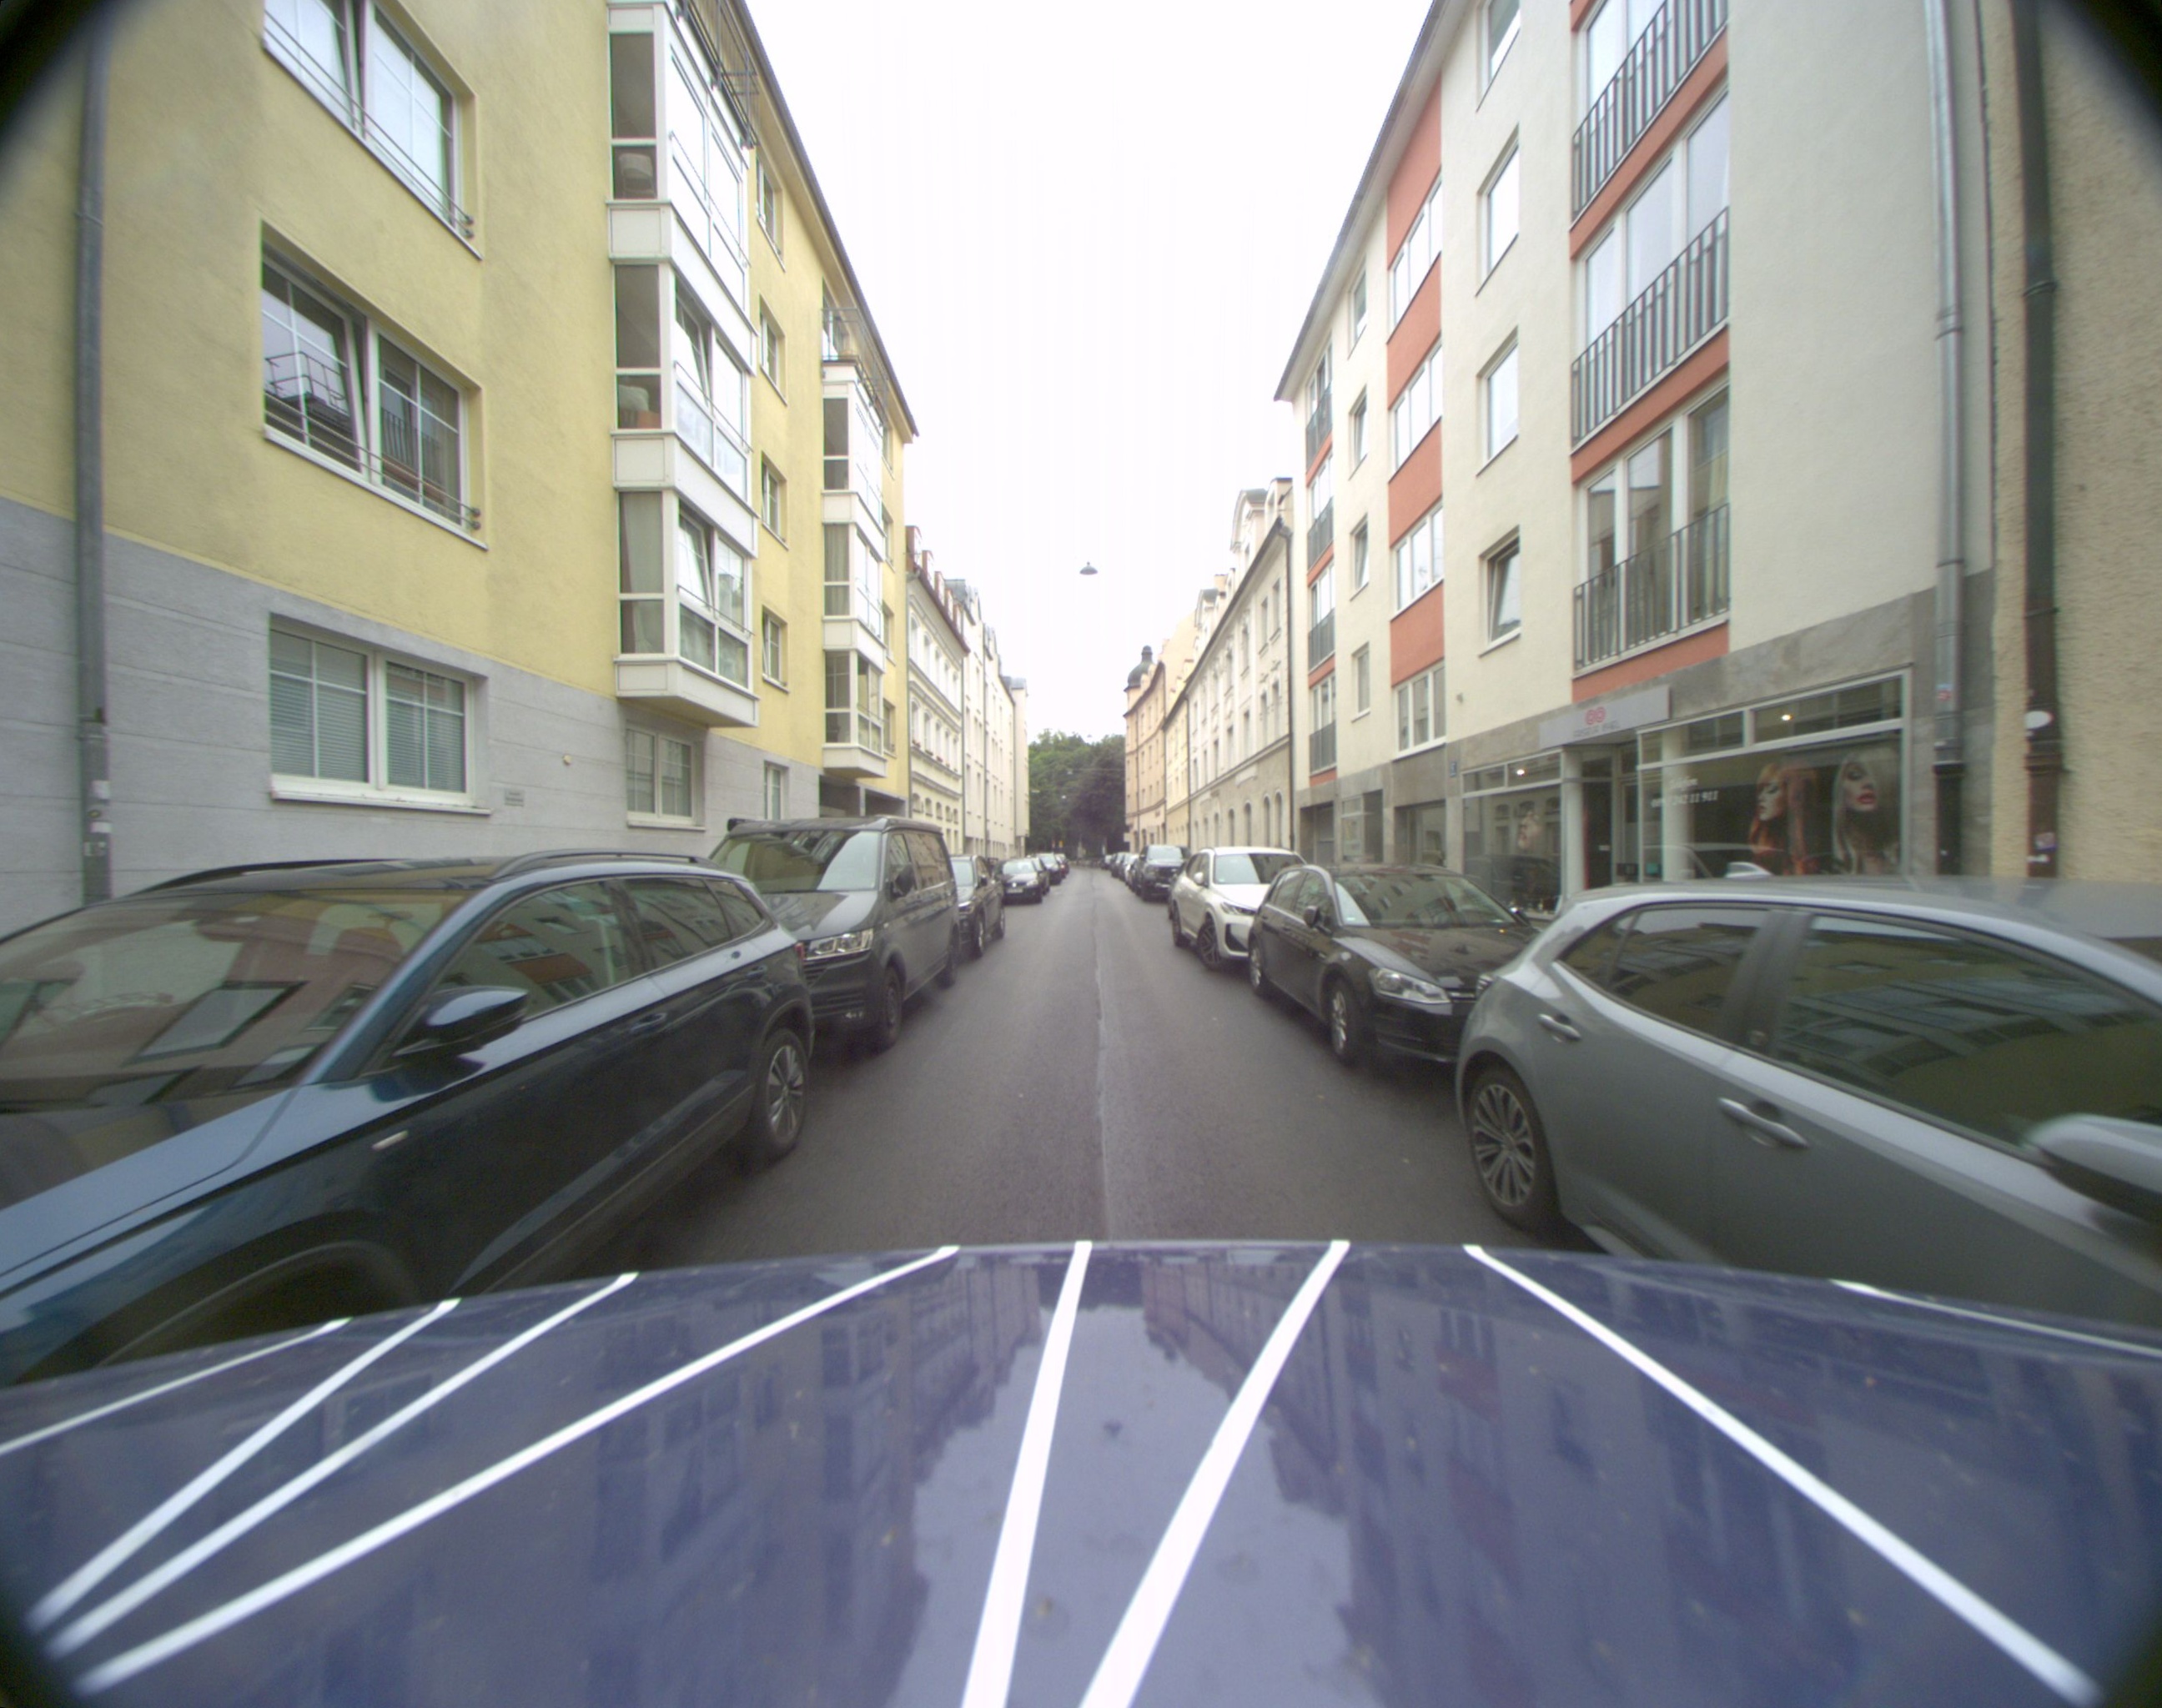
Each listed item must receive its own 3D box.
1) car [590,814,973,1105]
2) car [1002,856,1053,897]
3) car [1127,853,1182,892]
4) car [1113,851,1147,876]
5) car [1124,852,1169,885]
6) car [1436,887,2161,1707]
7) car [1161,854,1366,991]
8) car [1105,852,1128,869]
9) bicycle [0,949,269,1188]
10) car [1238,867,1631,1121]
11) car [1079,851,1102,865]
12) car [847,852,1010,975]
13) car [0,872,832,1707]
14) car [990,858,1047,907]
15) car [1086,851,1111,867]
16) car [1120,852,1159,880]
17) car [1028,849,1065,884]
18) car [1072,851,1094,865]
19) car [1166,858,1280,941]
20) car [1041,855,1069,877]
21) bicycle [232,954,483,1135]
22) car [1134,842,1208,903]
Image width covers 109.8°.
[{"bbox_3d":[-2.464,0.700,7.904,1.878,2.002,5.105,-2,1,0],"label":"car"},{"bbox_3d":[-2.093,0.850,30.506,1.739,1.433,3.685,-2,0,0],"label":"car"},{"bbox_3d":[2.988,0.721,31.500,1.951,1.470,3.715,1,0,1],"label":"car"},{"bbox_3d":[3.092,0.599,48.705,1.951,1.470,3.979,1,0,1],"label":"car"},{"bbox_3d":[3.210,0.681,37.855,1.951,1.470,3.715,1,0,1],"label":"car"},{"bbox_3d":[2.452,0.950,1.436,1.676,1.467,4.111,1,1,1],"label":"car"},{"bbox_3d":[2.407,0.828,11.218,1.786,1.596,4.307,1,0,-3],"label":"car"},{"bbox_3d":[3.270,0.608,69.912,1.951,1.470,3.979,1,0,1],"label":"car"},{"bbox_3d":[-5.246,1.074,3.966,0.422,0.970,1.446,-1,0,1],"label":"bicycle"},{"bbox_3d":[2.582,0.902,6.625,1.632,1.467,3.841,1,0,0],"label":"car"},{"bbox_3d":[1.023,0.438,83.706,1.800,1.501,3.996,1,0,-10],"label":"car"},{"bbox_3d":[-2.394,0.851,13.037,1.837,1.676,4.228,-2,1,1],"label":"car"},{"bbox_3d":[-2.460,0.967,2.443,1.837,1.612,4.323,-2,1,0],"label":"car"},{"bbox_3d":[-2.128,0.910,25.998,1.750,1.433,4.227,-2,0,-4],"label":"car"},{"bbox_3d":[1.787,0.503,79.510,1.800,1.501,3.996,1,0,-10],"label":"car"},{"bbox_3d":[3.276,0.630,42.999,1.951,1.470,3.715,1,0,1],"label":"car"},{"bbox_3d":[-1.797,0.641,40.817,1.739,1.743,3.685,-2,0,0],"label":"car"},{"bbox_3d":[0.190,0.412,87.808,1.800,1.501,3.996,1,0,-10],"label":"car"},{"bbox_3d":[2.831,0.835,15.929,1.632,1.467,4.029,1,0,0],"label":"car"},{"bbox_3d":[-1.701,0.780,51.093,1.739,1.297,3.685,-2,0,0],"label":"car"},{"bbox_3d":[-5.210,1.320,5.599,0.422,0.970,1.446,-1,0,1],"label":"bicycle"},{"bbox_3d":[2.957,0.558,25.900,1.951,1.850,4.908,1,0,1],"label":"car"}]
